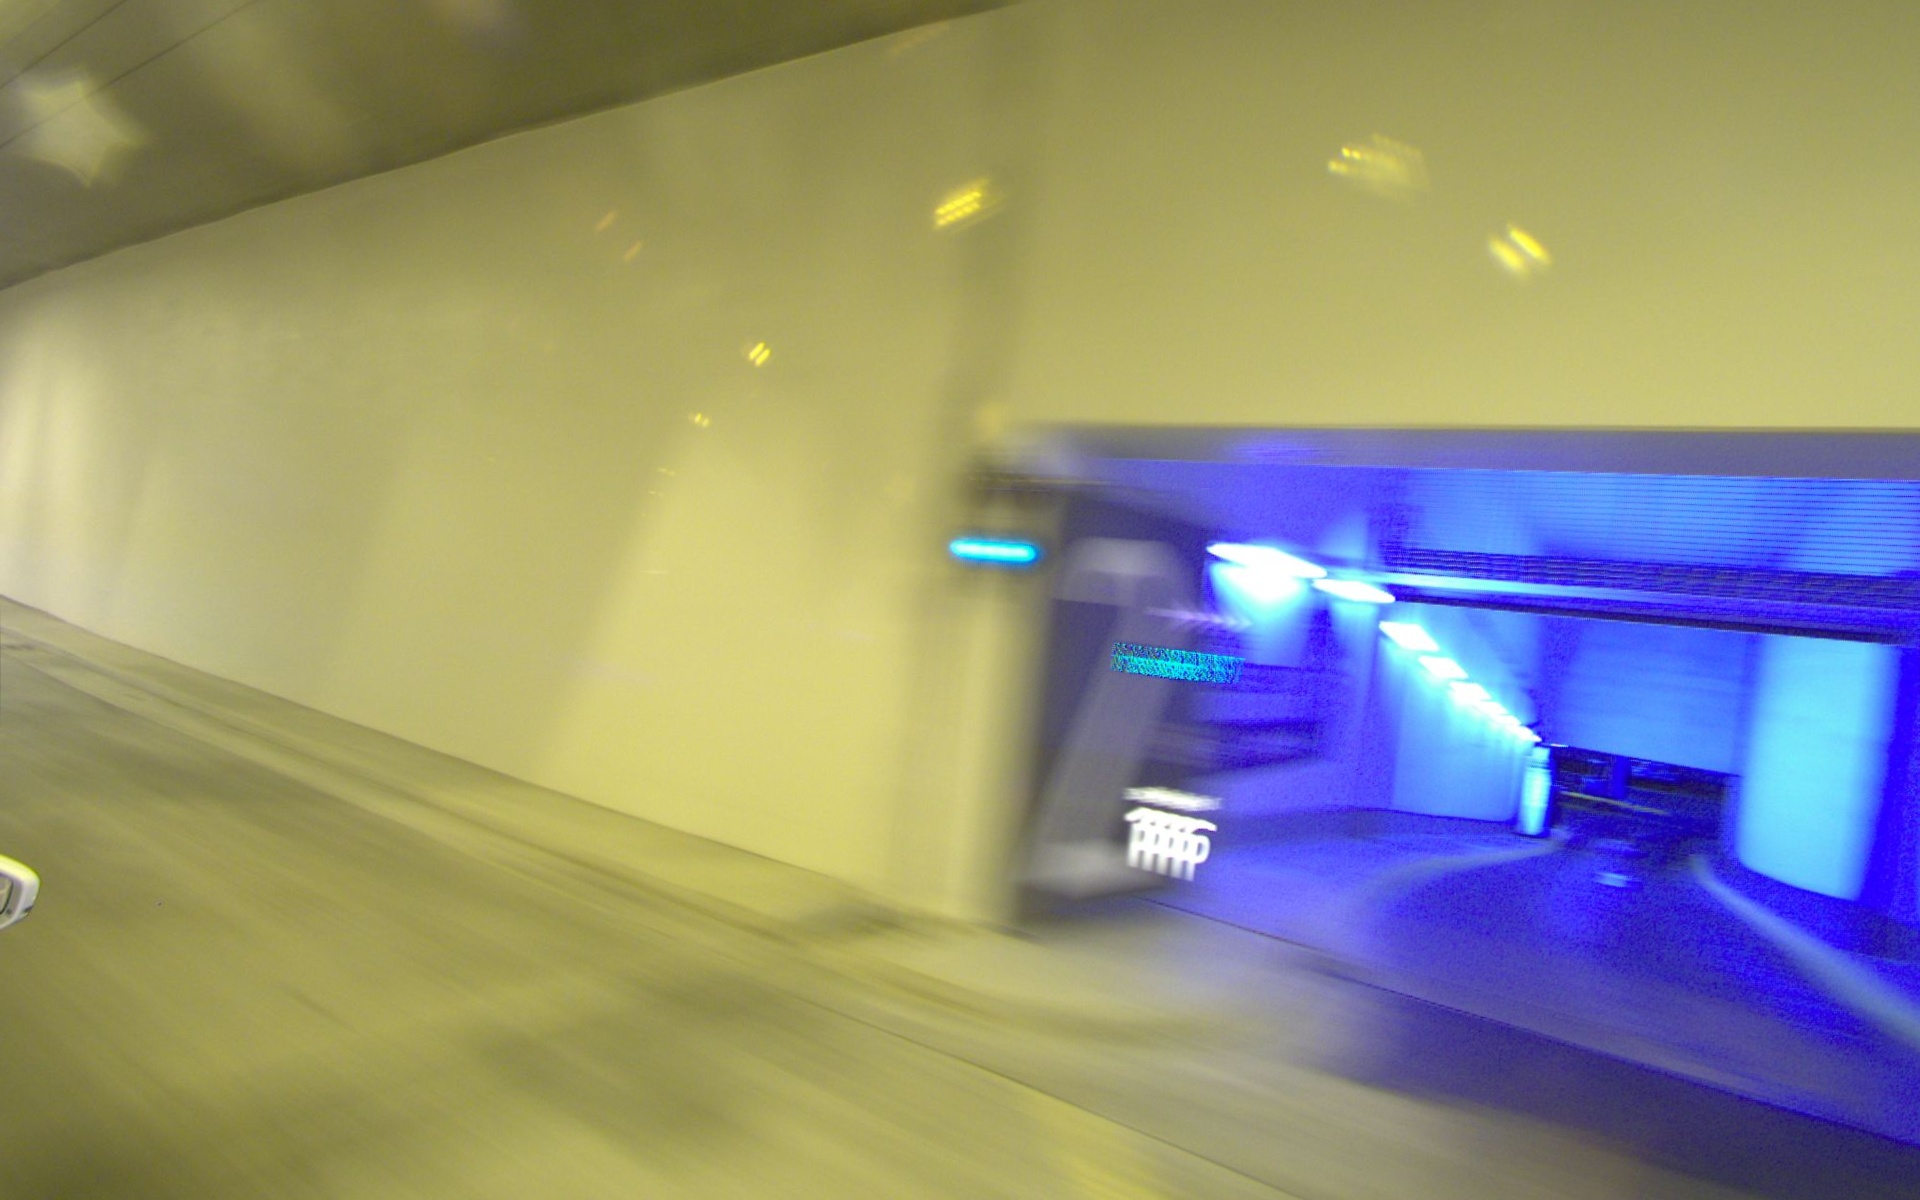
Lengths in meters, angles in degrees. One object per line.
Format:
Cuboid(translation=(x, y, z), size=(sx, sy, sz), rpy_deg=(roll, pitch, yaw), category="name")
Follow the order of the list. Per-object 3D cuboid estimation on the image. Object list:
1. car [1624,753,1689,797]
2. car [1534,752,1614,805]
Cuboid(translation=(30.895, 7.700, 44.579), size=(1.971, 1.496, 3.828), rpy_deg=(6, -2, 39), category="car")
Cuboid(translation=(22.890, 6.602, 37.457), size=(1.971, 1.496, 3.828), rpy_deg=(6, -2, 39), category="car")
